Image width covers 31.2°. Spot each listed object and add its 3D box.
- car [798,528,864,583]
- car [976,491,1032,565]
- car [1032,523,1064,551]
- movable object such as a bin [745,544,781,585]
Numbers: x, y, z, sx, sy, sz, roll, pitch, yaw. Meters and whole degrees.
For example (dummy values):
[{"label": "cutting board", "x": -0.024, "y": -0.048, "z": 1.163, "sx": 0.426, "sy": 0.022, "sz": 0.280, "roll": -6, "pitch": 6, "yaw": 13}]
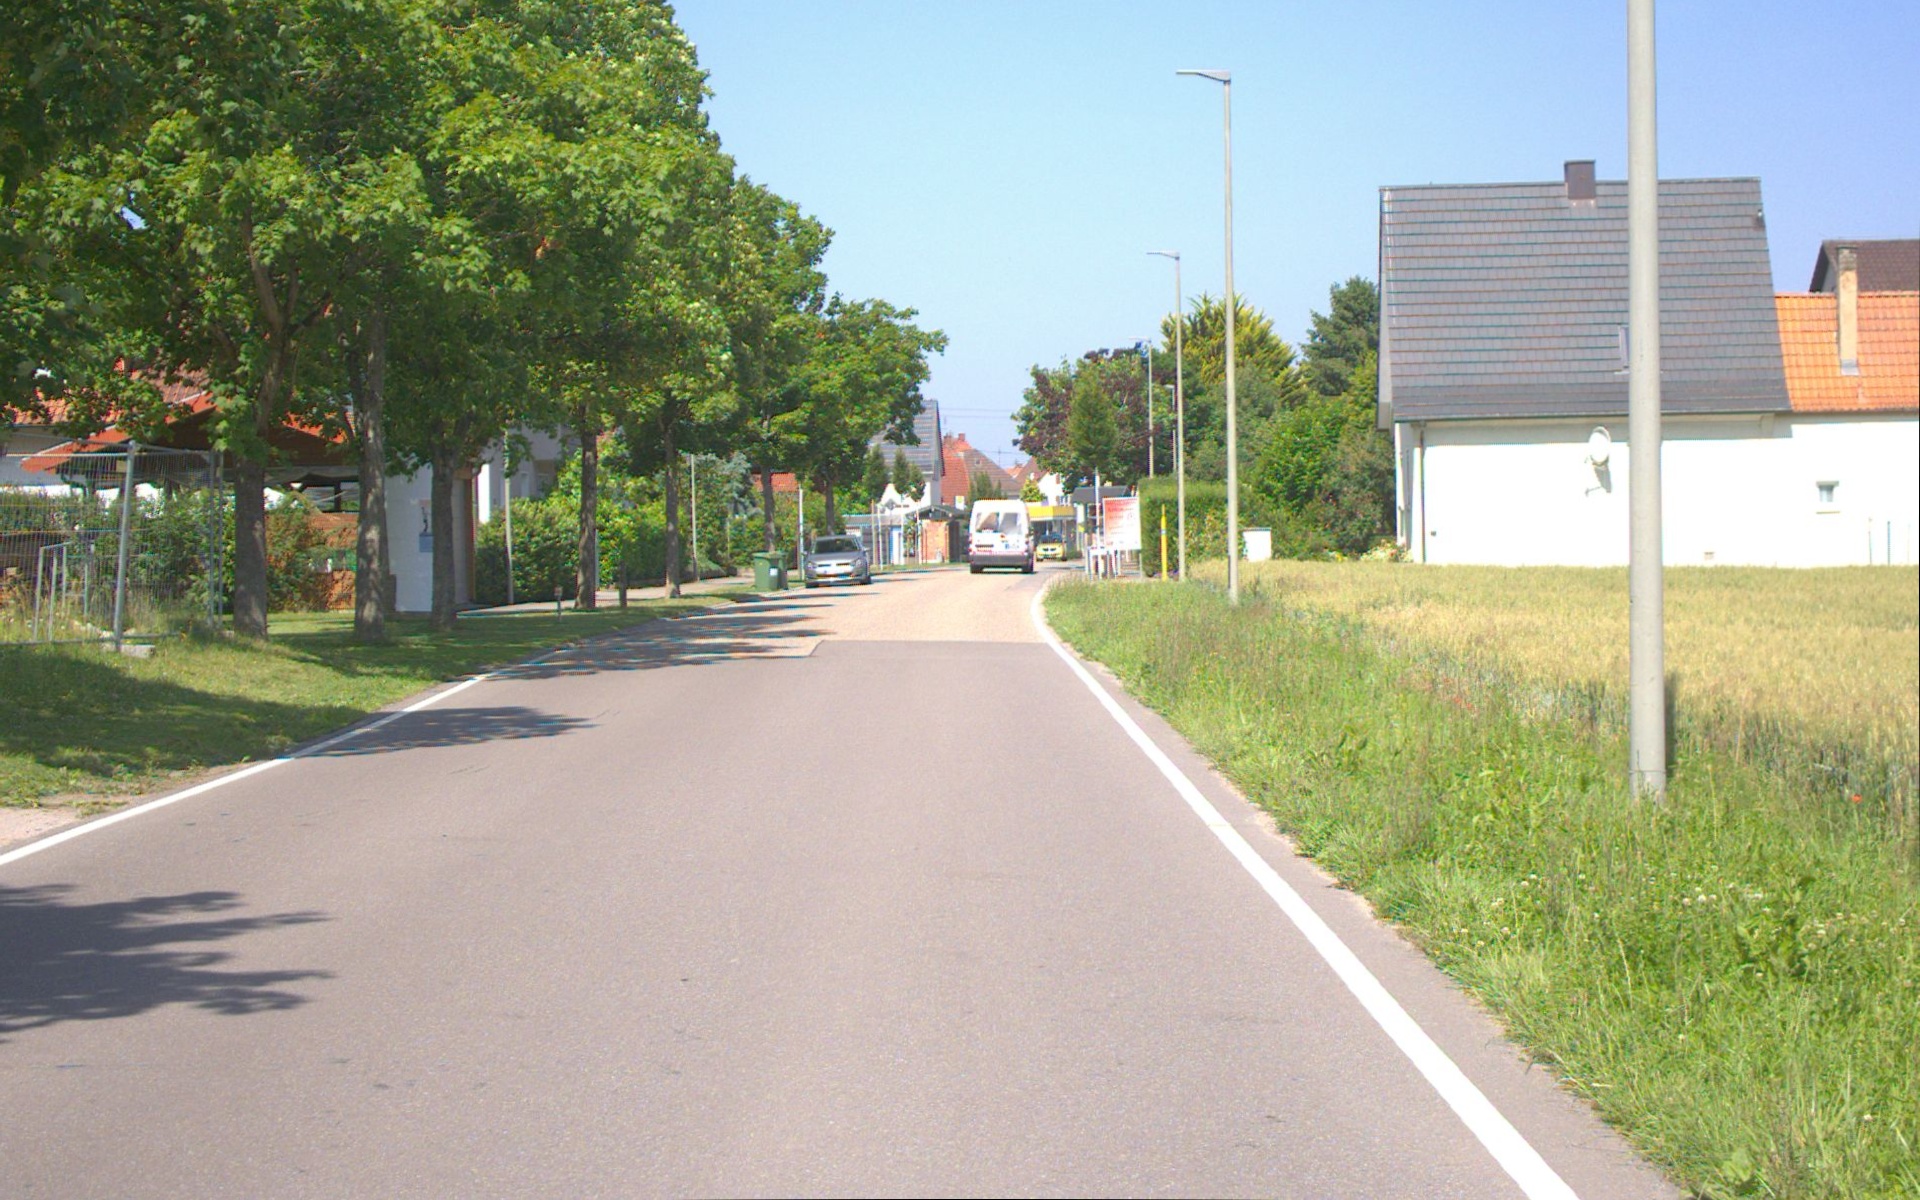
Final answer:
[{"label": "car", "x": -3.664, "y": -1.279, "z": 98.116, "sx": 1.647, "sy": 1.419, "sz": 4.080, "roll": -3, "pitch": 1, "yaw": 0}, {"label": "car", "x": 1.522, "y": -2.438, "z": 116.363, "sx": 1.738, "sy": 2.424, "sz": 4.374, "roll": -1, "pitch": 1, "yaw": 2}, {"label": "car", "x": 5.110, "y": -3.671, "z": 200.578, "sx": 1.666, "sy": 1.519, "sz": 3.443, "roll": -2, "pitch": 1, "yaw": -1}, {"label": "movable object such as a bin", "x": -5.307, "y": -0.954, "z": 92.684, "sx": 0.714, "sy": 1.075, "sz": 0.639, "roll": -1, "pitch": 1, "yaw": 27}]
